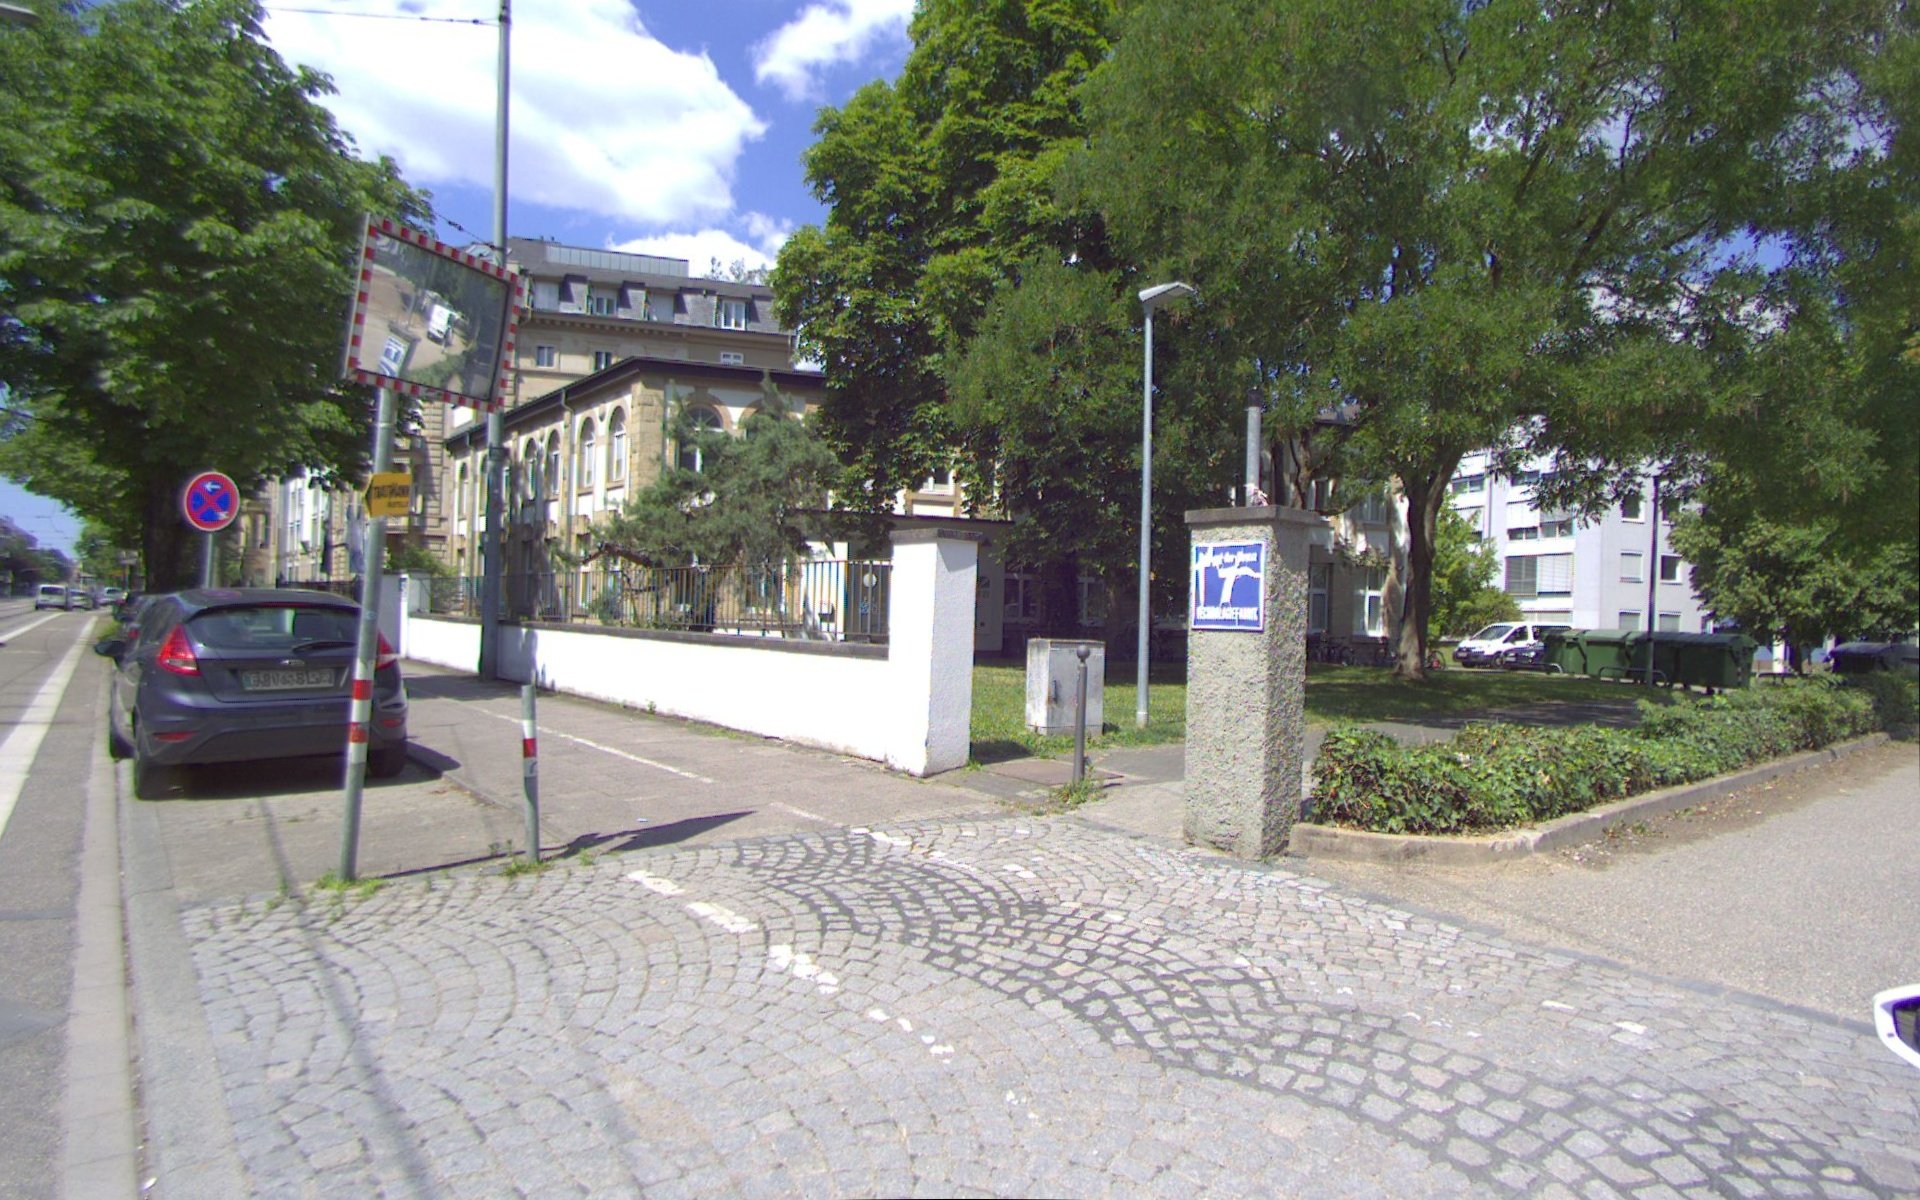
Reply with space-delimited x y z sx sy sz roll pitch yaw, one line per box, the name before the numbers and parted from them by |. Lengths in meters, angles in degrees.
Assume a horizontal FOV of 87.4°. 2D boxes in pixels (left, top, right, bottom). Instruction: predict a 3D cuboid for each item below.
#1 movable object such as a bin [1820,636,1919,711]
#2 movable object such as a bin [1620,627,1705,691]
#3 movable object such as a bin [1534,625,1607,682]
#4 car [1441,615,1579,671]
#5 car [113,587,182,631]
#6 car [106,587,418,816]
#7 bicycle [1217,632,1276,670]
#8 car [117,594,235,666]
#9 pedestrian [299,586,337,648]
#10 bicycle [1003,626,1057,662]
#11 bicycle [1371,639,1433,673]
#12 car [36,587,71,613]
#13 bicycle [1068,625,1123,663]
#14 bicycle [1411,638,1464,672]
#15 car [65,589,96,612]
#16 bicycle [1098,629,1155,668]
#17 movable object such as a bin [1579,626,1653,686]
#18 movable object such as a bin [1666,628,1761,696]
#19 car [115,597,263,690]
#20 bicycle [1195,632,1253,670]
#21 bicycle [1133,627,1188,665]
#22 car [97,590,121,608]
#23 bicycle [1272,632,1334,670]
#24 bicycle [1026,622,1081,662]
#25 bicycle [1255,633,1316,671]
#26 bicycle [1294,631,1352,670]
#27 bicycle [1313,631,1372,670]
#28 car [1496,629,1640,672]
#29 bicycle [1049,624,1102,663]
movable object such as a bin | 18.153 1.440 20.020 1.093 1.412 1.161 1 -1 10
movable object such as a bin | 17.392 1.450 24.878 1.081 1.499 1.353 2 -1 -23
movable object such as a bin | 16.829 1.465 27.722 1.029 1.499 1.407 2 -1 -12
car | 21.918 1.711 40.093 4.693 2.040 1.995 2 -1 -13
car | -31.946 0.333 39.566 1.712 1.636 3.962 1 -1 -34
car | -5.929 0.643 8.362 1.578 1.476 3.677 -1 1 -44
bicycle | 8.645 1.530 30.428 0.597 1.025 2.252 2 -1 -16
car | -17.694 0.626 22.714 1.935 1.463 3.731 2 -1 -38
pedestrian | -16.865 0.444 26.372 0.692 1.588 0.735 2 -1 -42
bicycle | 1.962 1.237 28.535 0.646 0.902 2.249 2 -1 -20
bicycle | 13.917 1.750 31.695 0.596 0.971 2.255 2 -1 -11
car | -64.260 -0.025 71.245 1.665 1.742 3.954 2 -1 -40
bicycle | 3.929 1.268 29.324 0.598 1.025 2.249 2 -1 -20
bicycle | 15.125 1.744 31.885 0.603 0.971 1.726 2 -1 -11
car | -70.757 0.020 80.843 1.750 1.742 3.954 2 -1 -40
bicycle | 4.851 1.408 29.489 0.598 1.025 2.249 2 -1 -20
movable object such as a bin | 17.134 1.458 26.264 1.029 1.499 1.259 2 -1 -12
movable object such as a bin | 17.659 1.443 23.572 1.188 1.499 1.321 2 -1 -16
car | -13.658 0.693 17.825 1.868 1.437 4.105 2 -1 -38
bicycle | 7.917 1.509 30.255 0.597 1.025 2.252 2 -1 -16
bicycle | 5.886 1.340 29.586 0.597 1.025 2.252 2 -1 -16
car | -88.213 -0.129 104.143 1.750 1.742 3.954 2 -1 -40
bicycle | 10.530 1.552 30.911 0.597 1.025 2.252 2 -1 -16
bicycle | 2.672 1.194 28.963 0.623 1.025 2.249 2 -1 -20
bicycle | 9.914 1.565 30.711 0.597 1.025 2.252 2 -1 -16
bicycle | 11.238 1.538 31.159 0.596 1.096 2.255 2 -1 -11
bicycle | 11.862 1.558 31.260 0.596 1.096 2.255 2 -1 -11
car | 22.370 1.859 36.985 4.547 1.370 1.829 2 -1 -13
bicycle | 3.319 1.231 29.084 0.561 1.025 2.249 2 -1 -20
